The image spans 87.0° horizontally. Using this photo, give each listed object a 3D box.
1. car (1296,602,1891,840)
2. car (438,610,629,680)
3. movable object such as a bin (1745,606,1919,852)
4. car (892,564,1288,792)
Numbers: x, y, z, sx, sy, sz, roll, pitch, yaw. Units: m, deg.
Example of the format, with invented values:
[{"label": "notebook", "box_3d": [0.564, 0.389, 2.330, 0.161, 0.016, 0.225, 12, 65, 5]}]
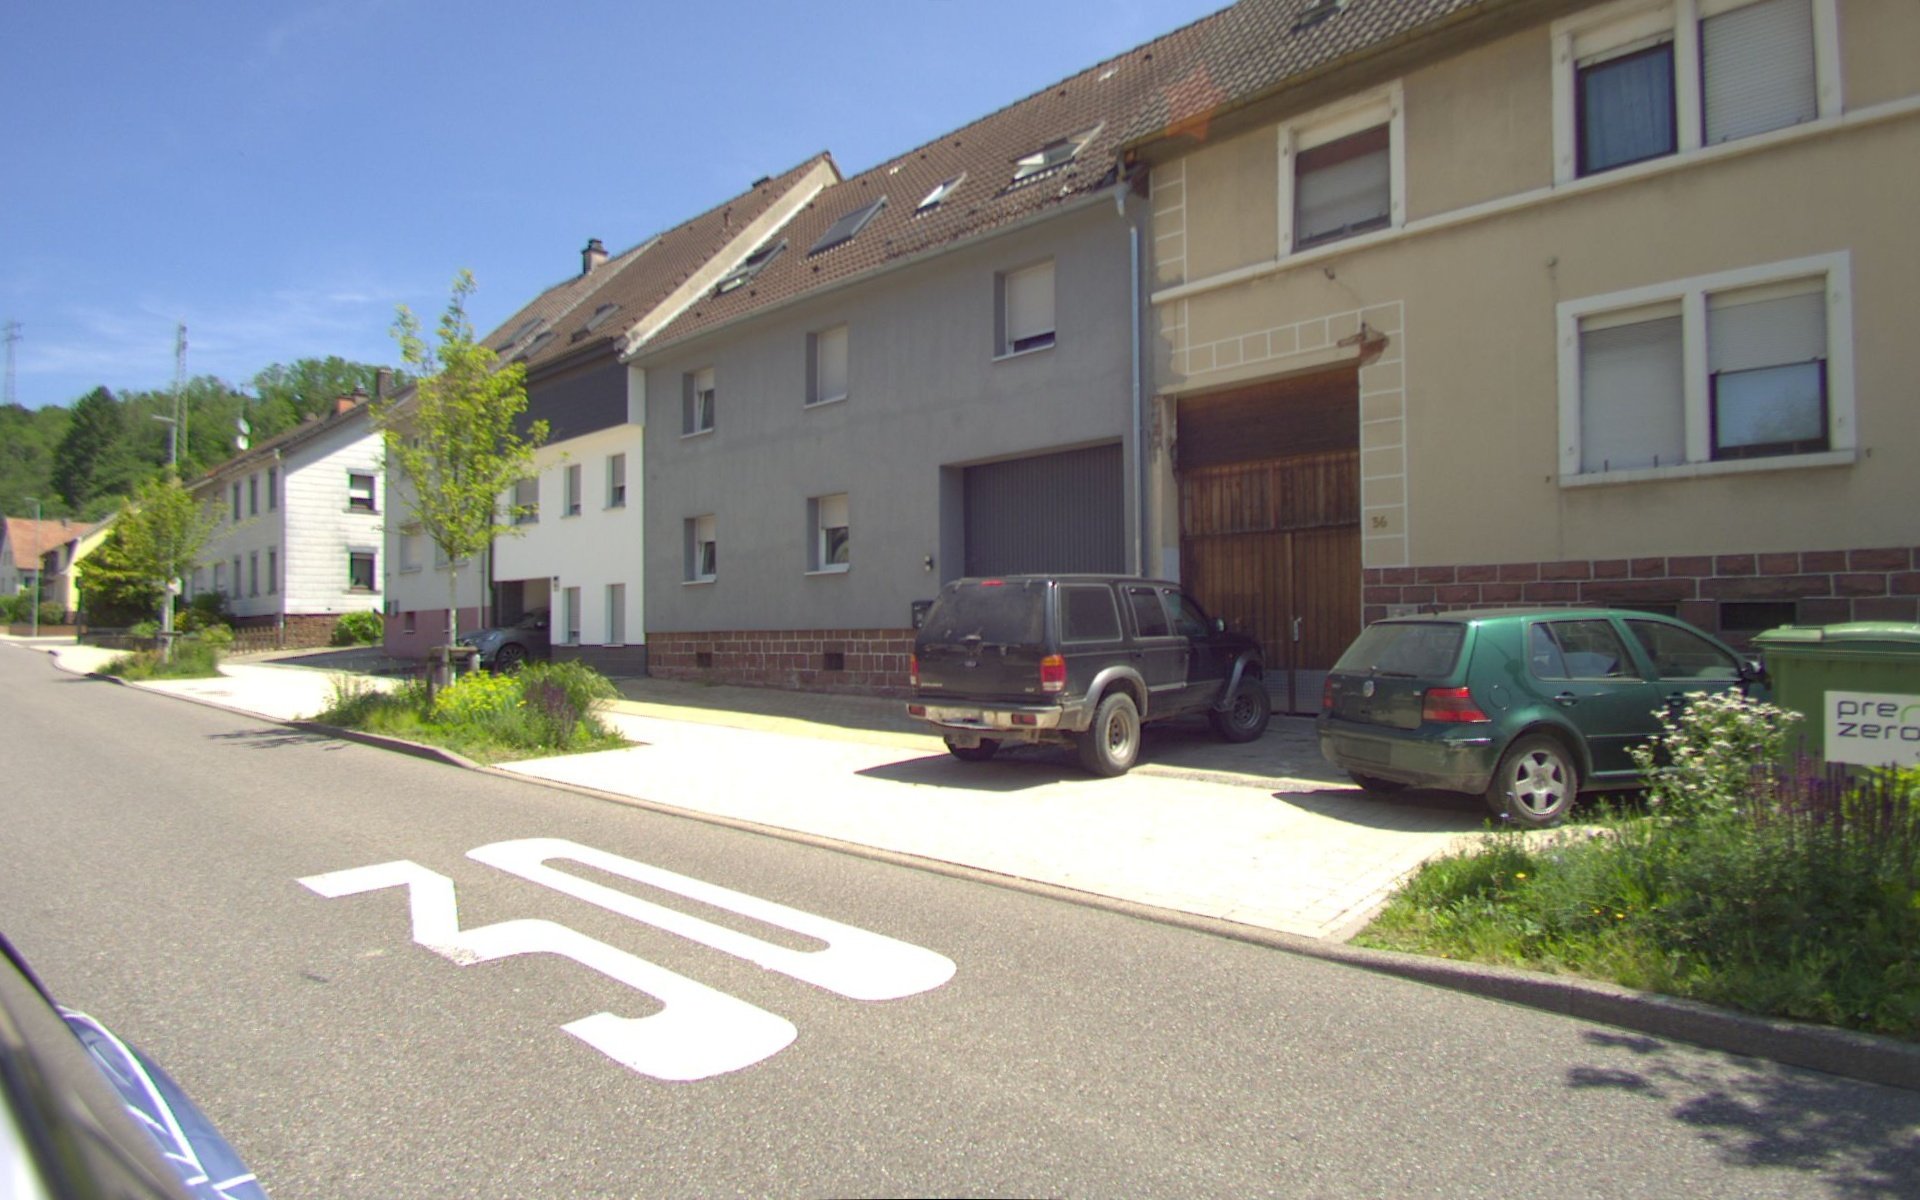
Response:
[{"label": "car", "box_3d": [4.509, 0.762, 7.411, 3.492, 1.450, 1.703, 0, -1, -13]}, {"label": "car", "box_3d": [-10.387, 1.028, 24.828, 1.832, 1.557, 3.945, -1, -1, 42]}, {"label": "movable object such as a bin", "box_3d": [5.558, 0.707, 5.875, 0.978, 1.330, 1.404, 0, -3, -45]}, {"label": "car", "box_3d": [1.499, 0.641, 10.124, 1.877, 1.764, 4.349, -1, -1, 40]}]
